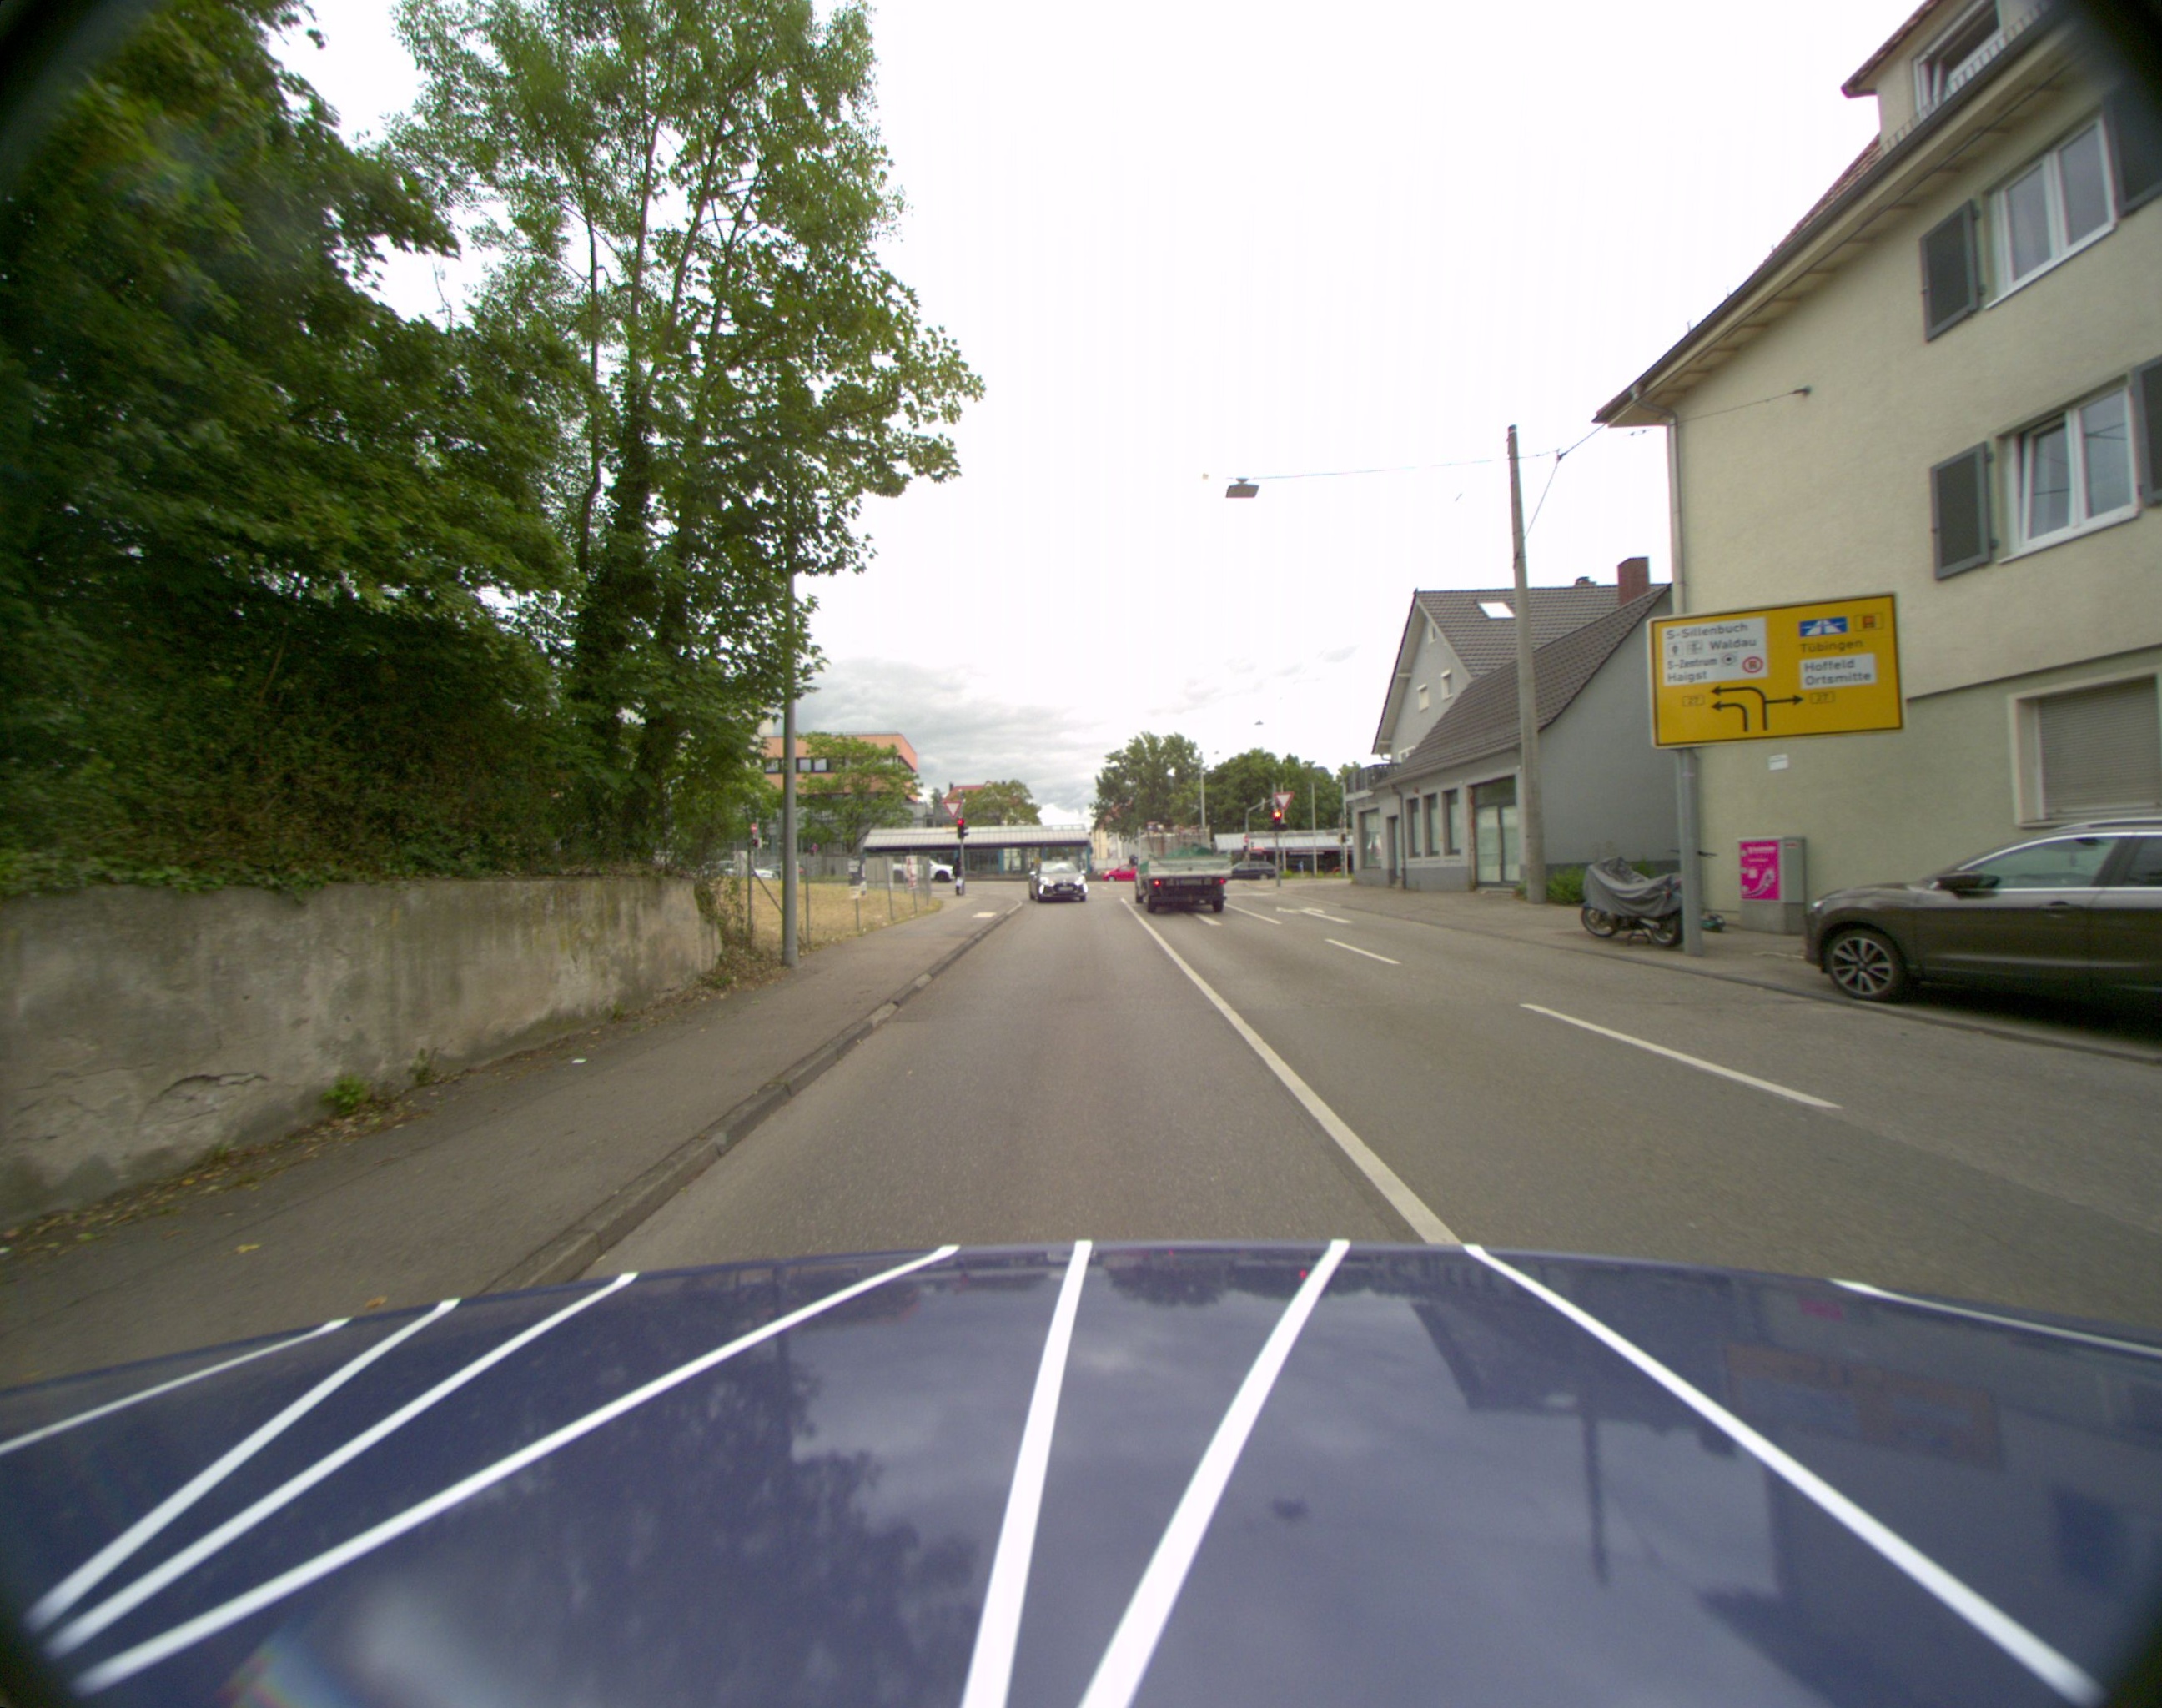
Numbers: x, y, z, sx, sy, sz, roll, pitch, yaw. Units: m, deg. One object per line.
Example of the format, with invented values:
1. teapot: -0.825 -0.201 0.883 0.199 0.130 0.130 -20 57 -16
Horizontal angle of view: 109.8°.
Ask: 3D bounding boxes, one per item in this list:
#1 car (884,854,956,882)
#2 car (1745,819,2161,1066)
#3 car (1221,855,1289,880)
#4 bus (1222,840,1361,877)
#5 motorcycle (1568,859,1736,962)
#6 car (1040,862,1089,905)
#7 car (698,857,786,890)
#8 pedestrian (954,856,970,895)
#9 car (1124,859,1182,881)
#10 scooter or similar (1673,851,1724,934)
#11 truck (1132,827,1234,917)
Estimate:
1. car: -9.562 0.821 45.389 3.998 1.503 1.999 -1 0 -5
2. car: 8.093 0.566 5.806 1.826 1.623 4.696 -3 0 -1
3. car: 12.221 0.925 53.617 4.282 1.630 1.999 -1 0 -2
4. bus: 18.843 0.454 68.400 11.845 3.044 2.001 -1 -2 4
5. motorcycle: 8.072 0.733 10.896 0.627 1.283 2.230 -4 0 -1
6. car: -0.574 1.015 27.541 1.646 1.390 3.781 0 0 -1
7. car: -18.977 1.060 42.676 3.999 1.683 1.974 -1 0 -5
8. pedestrian: -4.825 0.858 30.799 0.553 1.581 0.672 1 1 -2
9. car: 5.318 1.135 56.190 3.999 1.488 1.628 -1 0 -5
10. scooter or similar: 9.910 0.601 12.215 0.357 1.258 0.987 -3 1 24
11. truck: 2.777 0.450 22.357 2.126 2.188 6.589 -2 0 1
